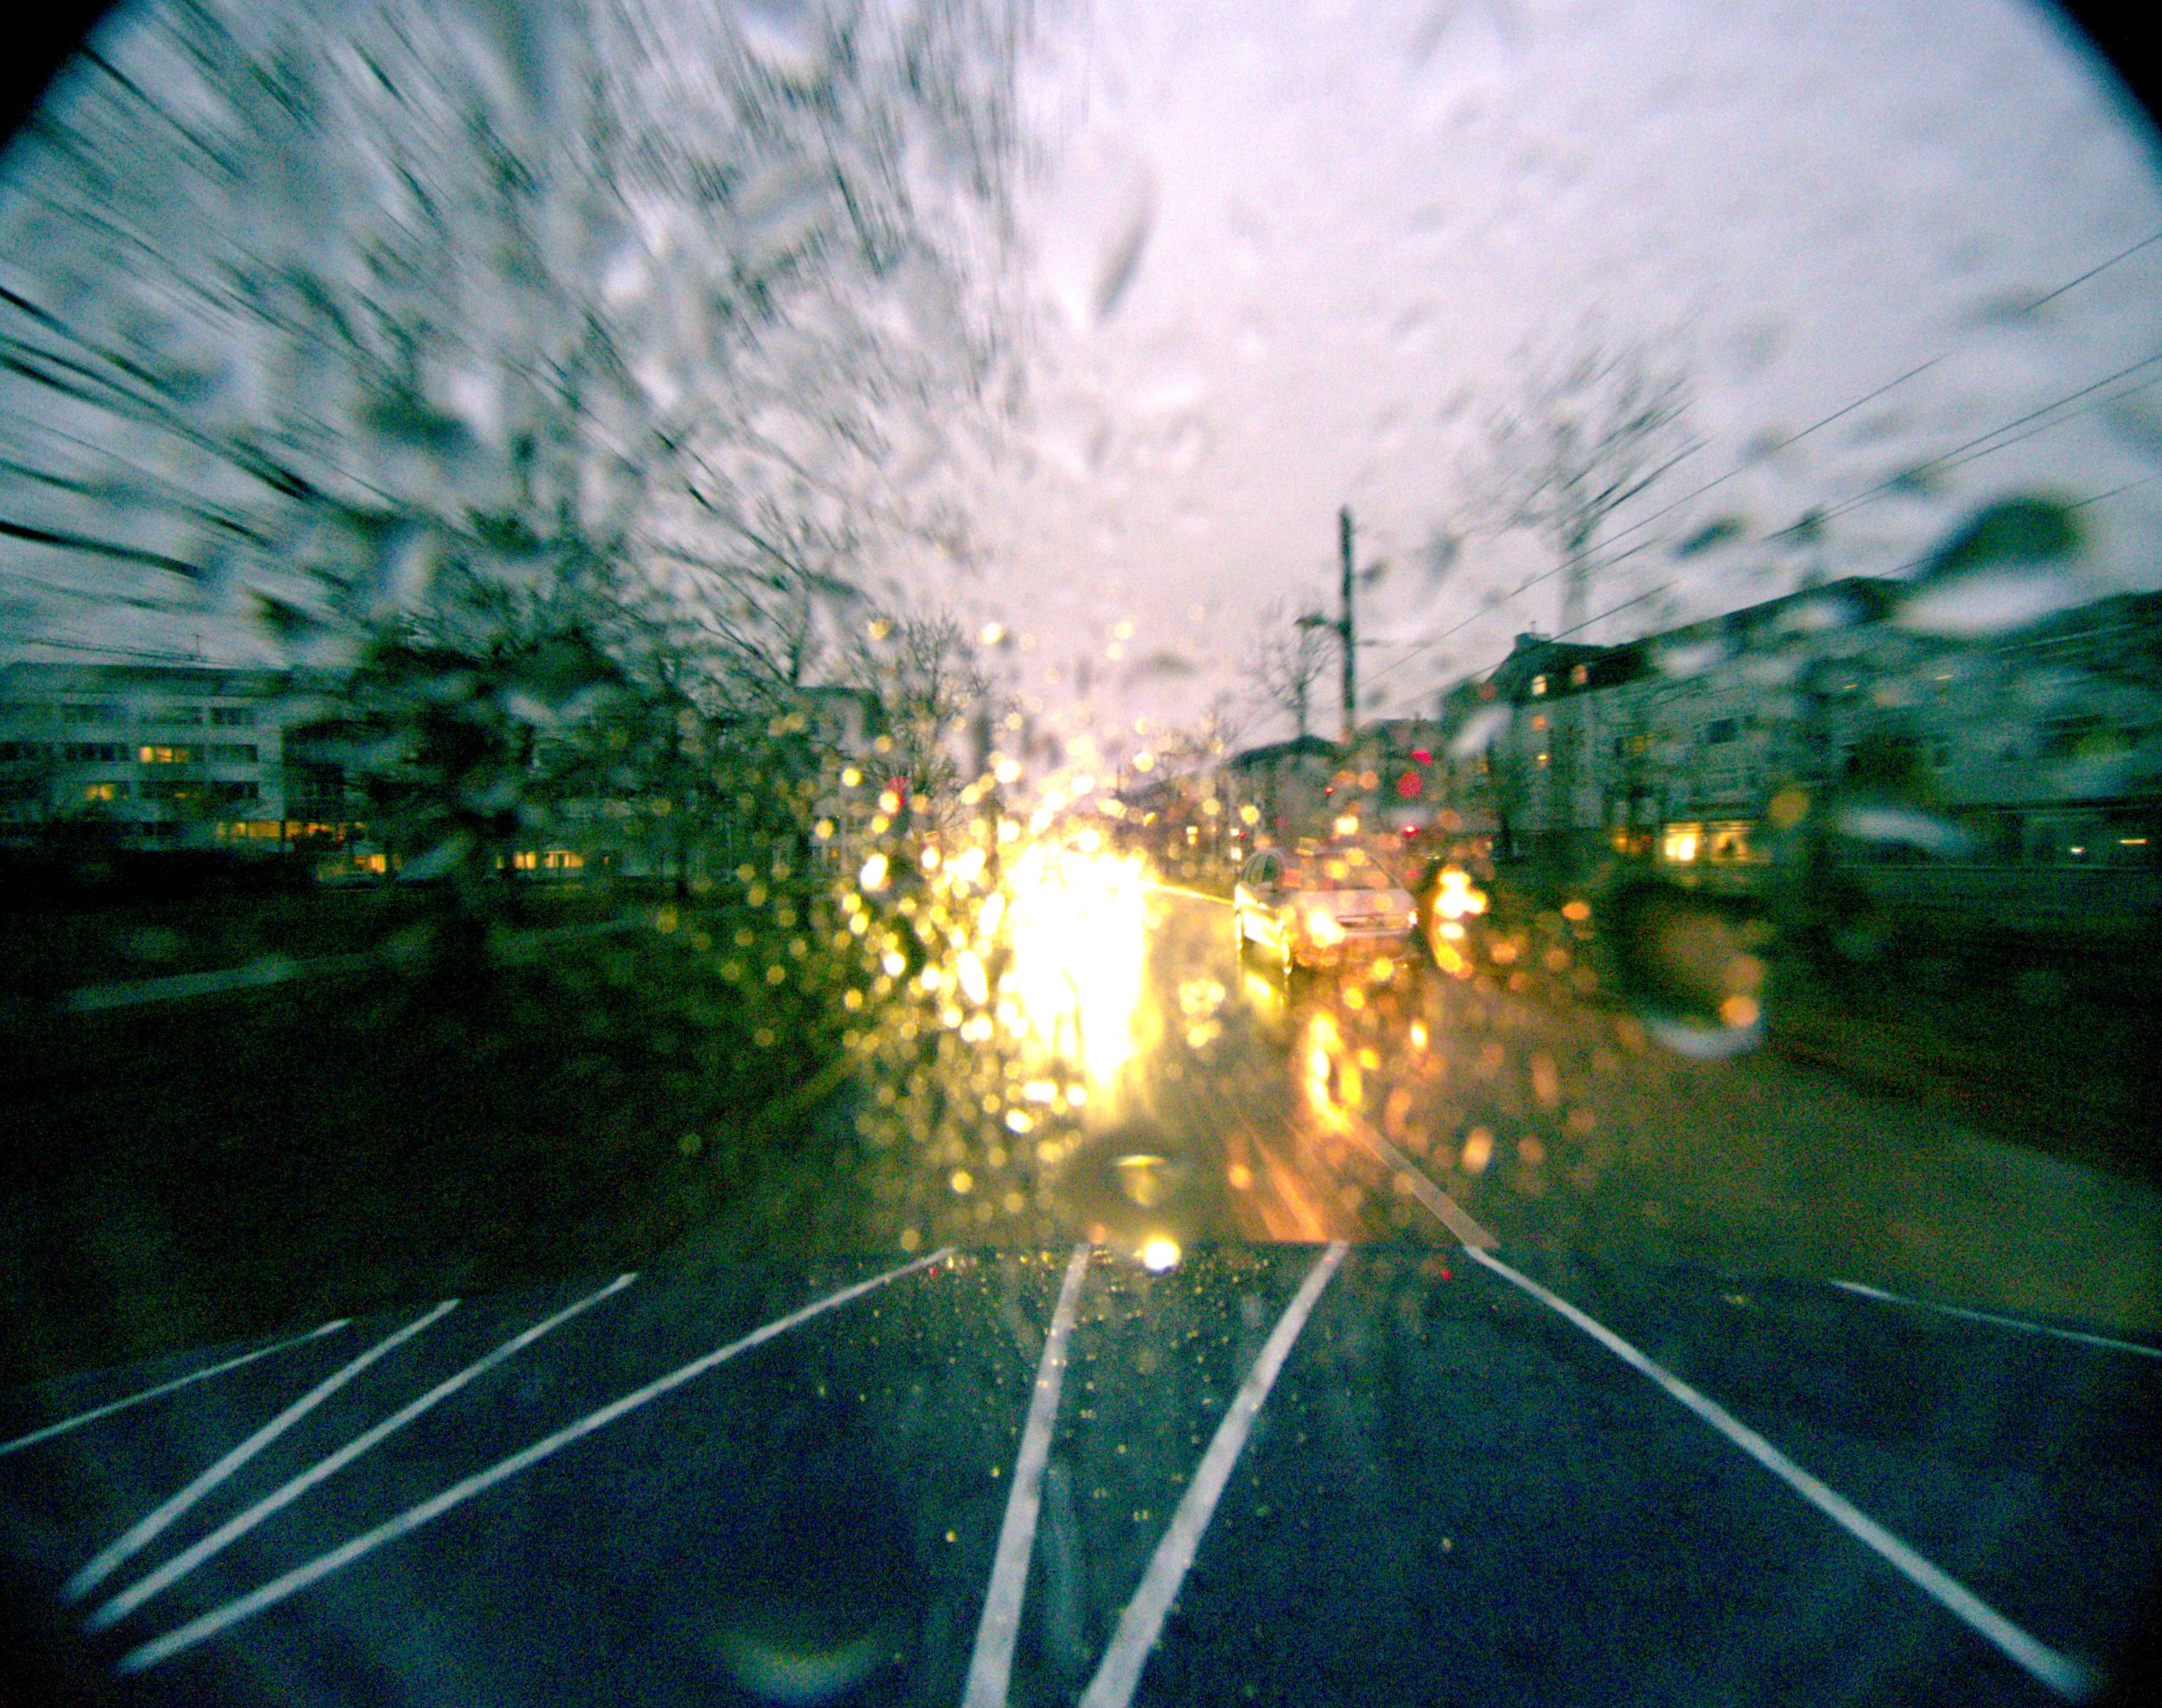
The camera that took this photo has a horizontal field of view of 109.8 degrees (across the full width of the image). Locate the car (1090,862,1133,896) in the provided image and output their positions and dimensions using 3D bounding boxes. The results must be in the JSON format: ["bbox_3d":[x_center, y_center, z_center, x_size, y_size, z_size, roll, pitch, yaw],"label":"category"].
[{"bbox_3d":[1.530,1.257,40.052,1.924,1.546,4.216,-3,0,-2],"label":"car"}]

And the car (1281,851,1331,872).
[{"bbox_3d":[15.430,0.526,52.344,1.897,1.347,4.287,-1,0,-5],"label":"car"}]

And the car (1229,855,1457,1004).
[{"bbox_3d":[3.263,0.830,10.296,1.669,1.566,3.922,-1,0,-1],"label":"car"}]

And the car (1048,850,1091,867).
[{"bbox_3d":[-1.349,0.486,84.269,2.332,1.846,4.661,-1,0,-39],"label":"car"}]

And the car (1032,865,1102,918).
[{"bbox_3d":[-0.429,1.051,22.808,1.897,1.347,4.288,-1,0,-1],"label":"car"}]

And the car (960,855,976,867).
[{"bbox_3d":[-15.669,1.011,105.093,1.951,1.546,4.213,-3,0,-12],"label":"car"}]

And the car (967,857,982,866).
[{"bbox_3d":[-16.817,1.166,120.127,2.001,1.316,3.995,-1,0,-13],"label":"car"}]

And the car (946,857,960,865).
[{"bbox_3d":[-21.729,1.240,128.730,2.001,1.316,3.995,-1,0,-13],"label":"car"}]

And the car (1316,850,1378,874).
[{"bbox_3d":[16.073,0.488,46.088,1.898,1.347,4.287,-1,0,-6],"label":"car"}]

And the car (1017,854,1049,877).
[{"bbox_3d":[-3.568,0.813,56.027,1.951,1.546,4.214,-3,0,-9],"label":"car"}]

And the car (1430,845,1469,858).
[{"bbox_3d":[44.008,-0.329,90.837,3.899,1.467,1.777,-1,0,-8],"label":"car"}]

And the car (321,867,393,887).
[{"bbox_3d":[-64.421,2.027,67.662,4.167,1.622,1.997,-1,0,-16],"label":"car"}]

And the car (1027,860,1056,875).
[{"bbox_3d":[-3.780,1.223,71.535,1.899,1.347,4.284,-1,0,-15],"label":"car"}]

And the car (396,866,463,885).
[{"bbox_3d":[-59.096,1.913,69.020,4.150,1.622,1.997,-1,0,-16],"label":"car"}]

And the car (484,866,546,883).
[{"bbox_3d":[-51.691,1.865,69.465,4.167,1.430,1.901,-1,0,-16],"label":"car"}]

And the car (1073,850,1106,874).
[{"bbox_3d":[0.555,0.569,55.372,1.845,1.546,4.214,-3,0,-6],"label":"car"}]
